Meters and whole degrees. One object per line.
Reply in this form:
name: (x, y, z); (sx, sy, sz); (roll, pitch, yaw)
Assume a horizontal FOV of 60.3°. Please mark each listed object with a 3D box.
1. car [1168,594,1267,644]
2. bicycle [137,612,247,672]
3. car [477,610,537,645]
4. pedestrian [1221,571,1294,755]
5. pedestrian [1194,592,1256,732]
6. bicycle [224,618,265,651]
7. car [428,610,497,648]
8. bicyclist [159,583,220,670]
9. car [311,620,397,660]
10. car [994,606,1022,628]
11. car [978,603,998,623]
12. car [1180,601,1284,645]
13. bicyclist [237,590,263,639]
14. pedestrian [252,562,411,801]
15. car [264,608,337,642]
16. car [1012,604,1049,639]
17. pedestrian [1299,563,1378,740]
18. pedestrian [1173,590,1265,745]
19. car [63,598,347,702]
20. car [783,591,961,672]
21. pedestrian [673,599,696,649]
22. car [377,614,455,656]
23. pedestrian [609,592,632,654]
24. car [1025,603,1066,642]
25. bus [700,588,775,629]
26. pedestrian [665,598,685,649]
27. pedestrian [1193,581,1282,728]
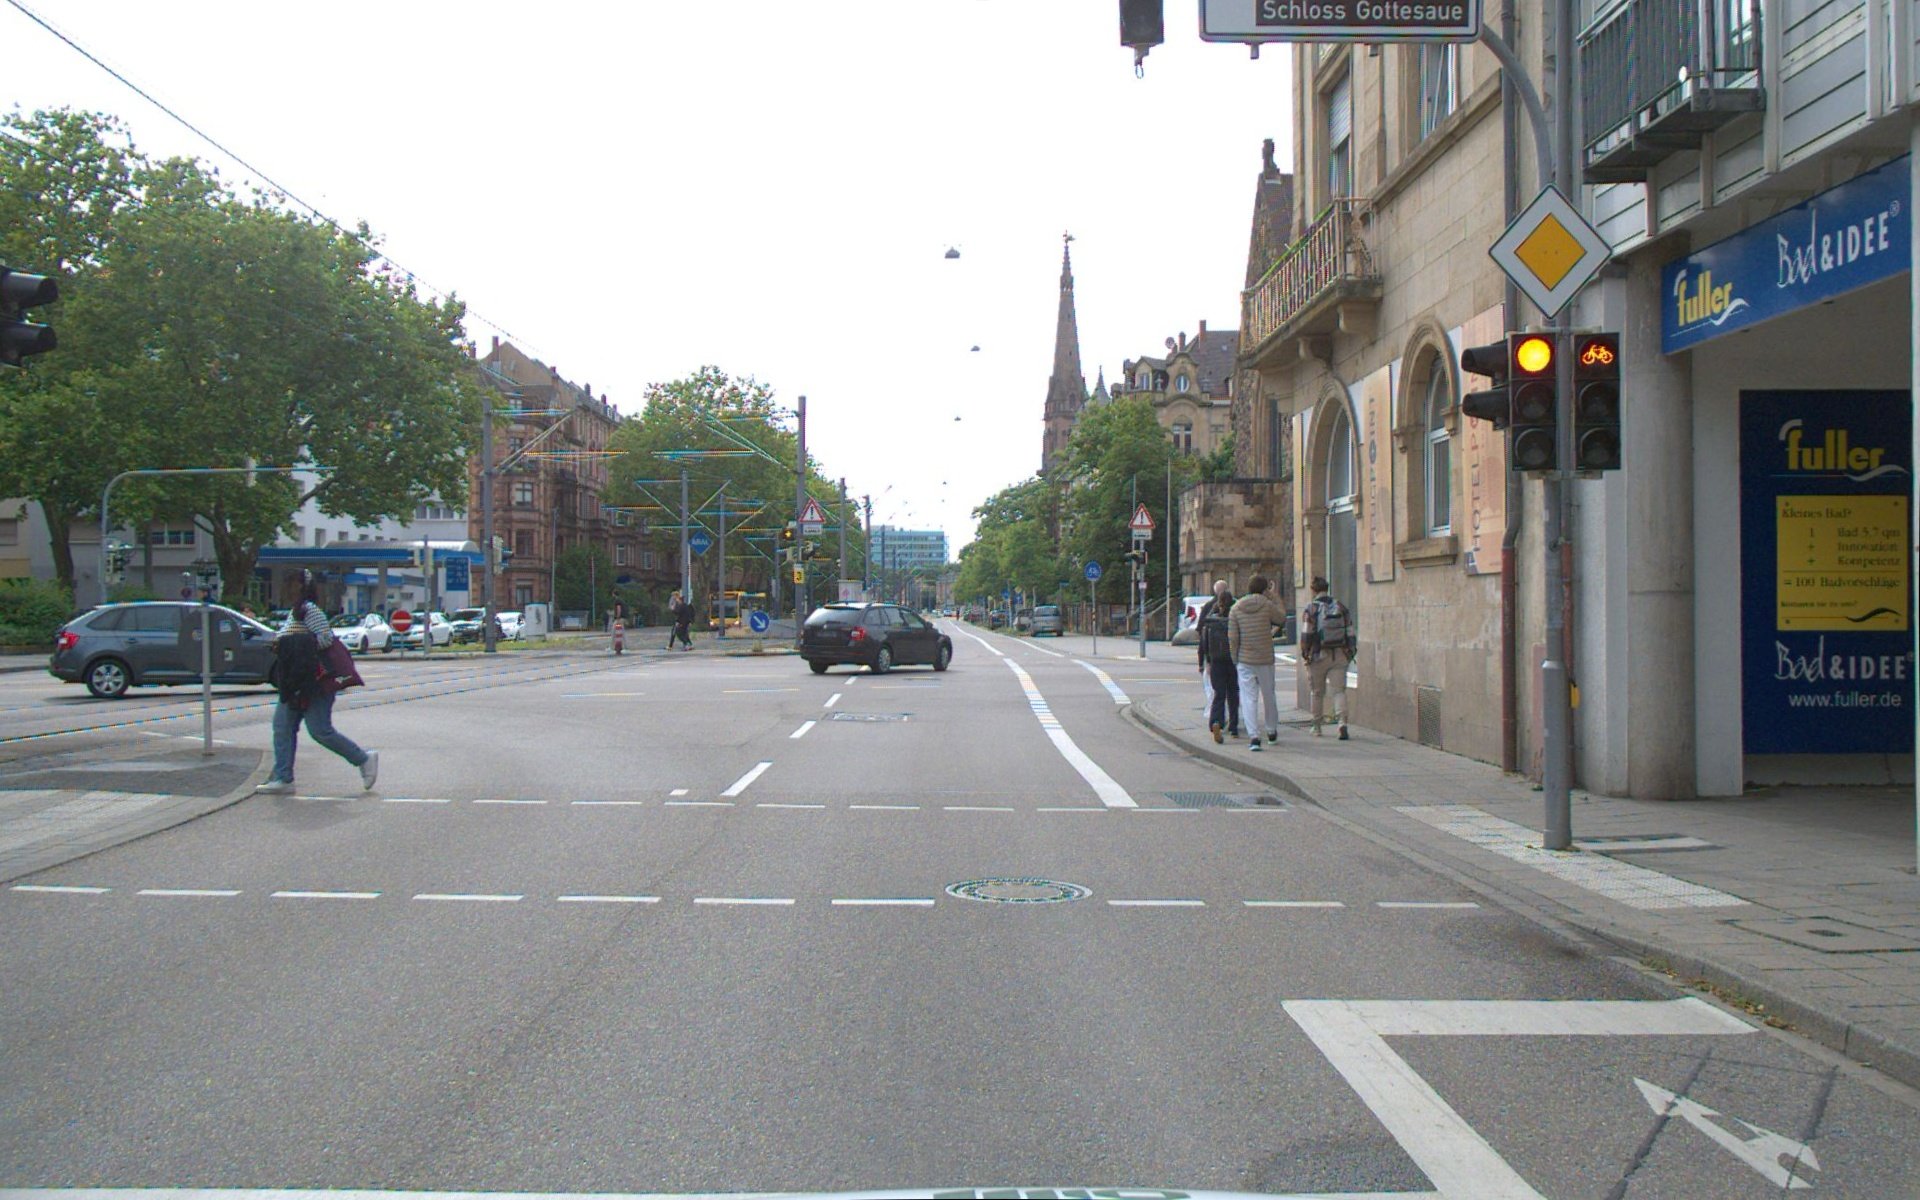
car: (10.631, 0.781, 68.463); (3.721, 1.937, 2.000); (1, -1, -1)
bicycle: (-15.263, 0.831, 32.912); (1.910, 1.155, 0.731); (1, -1, -22)
car: (-21.545, 1.298, 78.802); (1.856, 1.585, 3.835); (1, -1, -1)
pedestrian: (3.109, 0.637, 17.243); (0.571, 1.845, 1.015); (1, -1, 19)
pedestrian: (3.159, 0.732, 19.747); (0.685, 1.621, 0.831); (1, -1, 7)
bicycle: (-23.610, 1.133, 54.600); (0.511, 1.035, 1.936); (1, -1, -1)
car: (-21.601, 1.260, 71.968); (1.856, 1.585, 3.835); (1, -1, -1)
bicyclist: (-15.314, 0.526, 32.892); (1.023, 1.713, 0.641); (1, -1, -21)
car: (-21.420, 1.396, 58.580); (1.601, 1.349, 3.999); (1, -1, -1)
car: (3.742, 1.300, 128.517); (1.953, 1.635, 4.163); (-2, 0, -1)
car: (2.920, 1.365, 172.449); (1.953, 2.049, 3.999); (1, -1, -1)
car: (10.678, 0.894, 65.053); (3.721, 1.629, 2.000); (1, -1, -1)
bicyclist: (-23.589, 0.491, 54.950); (0.576, 1.595, 0.618); (1, -1, -1)
pedestrian: (-4.700, 0.585, 12.388); (0.659, 1.709, 0.864); (0, -1, 38)
car: (-31.862, 1.188, 79.971); (1.953, 1.557, 3.999); (1, -1, -1)
car: (4.207, 1.287, 99.711); (1.953, 2.049, 3.999); (1, -1, -1)
pedestrian: (4.048, 0.543, 17.765); (0.613, 1.809, 1.135); (-3, -1, 6)
pedestrian: (2.917, 0.740, 18.604); (0.616, 1.681, 0.993); (0, -1, 36)
car: (-11.820, 0.729, 26.039); (3.930, 1.495, 1.826); (-1, 0, -26)
car: (-1.818, 0.661, 35.577); (1.772, 1.614, 4.333); (1, -1, 29)
pedestrian: (-8.555, 0.746, 51.431); (0.640, 1.564, 0.465); (1, -1, -5)
car: (-21.331, 1.355, 64.994); (1.856, 1.585, 3.835); (1, -1, -1)
pedestrian: (-10.119, 0.678, 49.320); (0.562, 1.826, 0.518); (1, -1, -5)
car: (4.636, 1.215, 90.195); (1.953, 2.049, 3.999); (1, -1, -1)
bus: (-18.293, 0.755, 136.930); (3.019, 3.166, 13.102); (1, -1, 6)
pedestrian: (-8.958, 0.737, 52.024); (0.535, 1.564, 0.465); (1, -1, -5)
pedestrian: (3.533, 0.676, 21.057); (0.900, 1.815, 0.645); (0, -1, 37)
